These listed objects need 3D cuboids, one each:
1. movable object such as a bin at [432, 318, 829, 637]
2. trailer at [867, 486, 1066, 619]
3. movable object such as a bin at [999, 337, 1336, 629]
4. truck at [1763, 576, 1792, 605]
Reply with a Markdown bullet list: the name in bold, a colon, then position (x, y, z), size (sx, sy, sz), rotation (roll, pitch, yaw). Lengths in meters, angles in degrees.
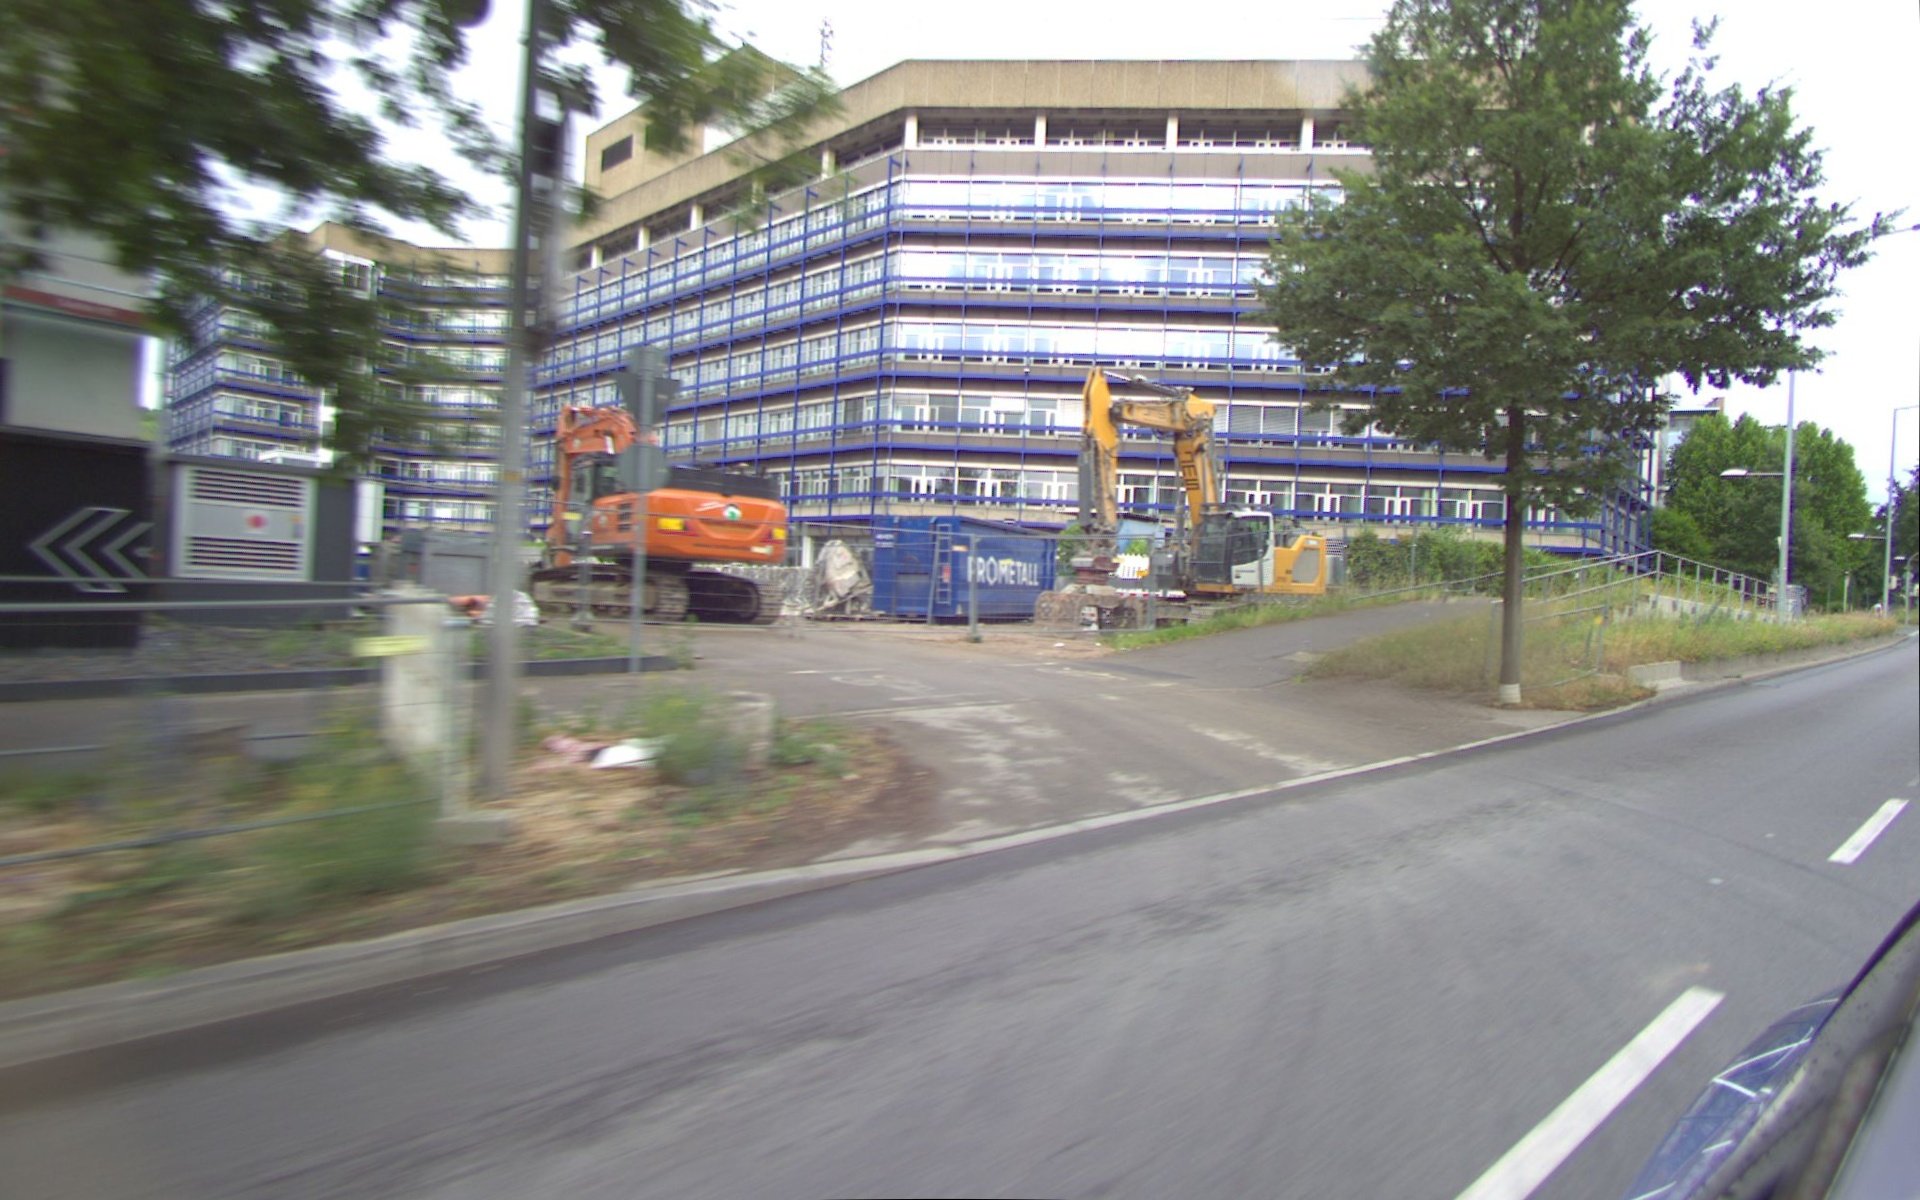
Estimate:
- **movable object such as a bin**: position (-8.012, -2.307, 22.656), size (3.726, 5.325, 12.158), rotation (-1, 3, -43)
- **trailer**: position (0.456, -1.137, 27.331), size (2.617, 3.081, 7.437), rotation (0, 0, 24)
- **movable object such as a bin**: position (5.197, -2.360, 24.033), size (8.611, 5.756, 3.295), rotation (-1, 0, -41)
- **truck**: position (73.479, -0.861, 90.934), size (1.745, 2.549, 3.939), rotation (0, 0, 42)
